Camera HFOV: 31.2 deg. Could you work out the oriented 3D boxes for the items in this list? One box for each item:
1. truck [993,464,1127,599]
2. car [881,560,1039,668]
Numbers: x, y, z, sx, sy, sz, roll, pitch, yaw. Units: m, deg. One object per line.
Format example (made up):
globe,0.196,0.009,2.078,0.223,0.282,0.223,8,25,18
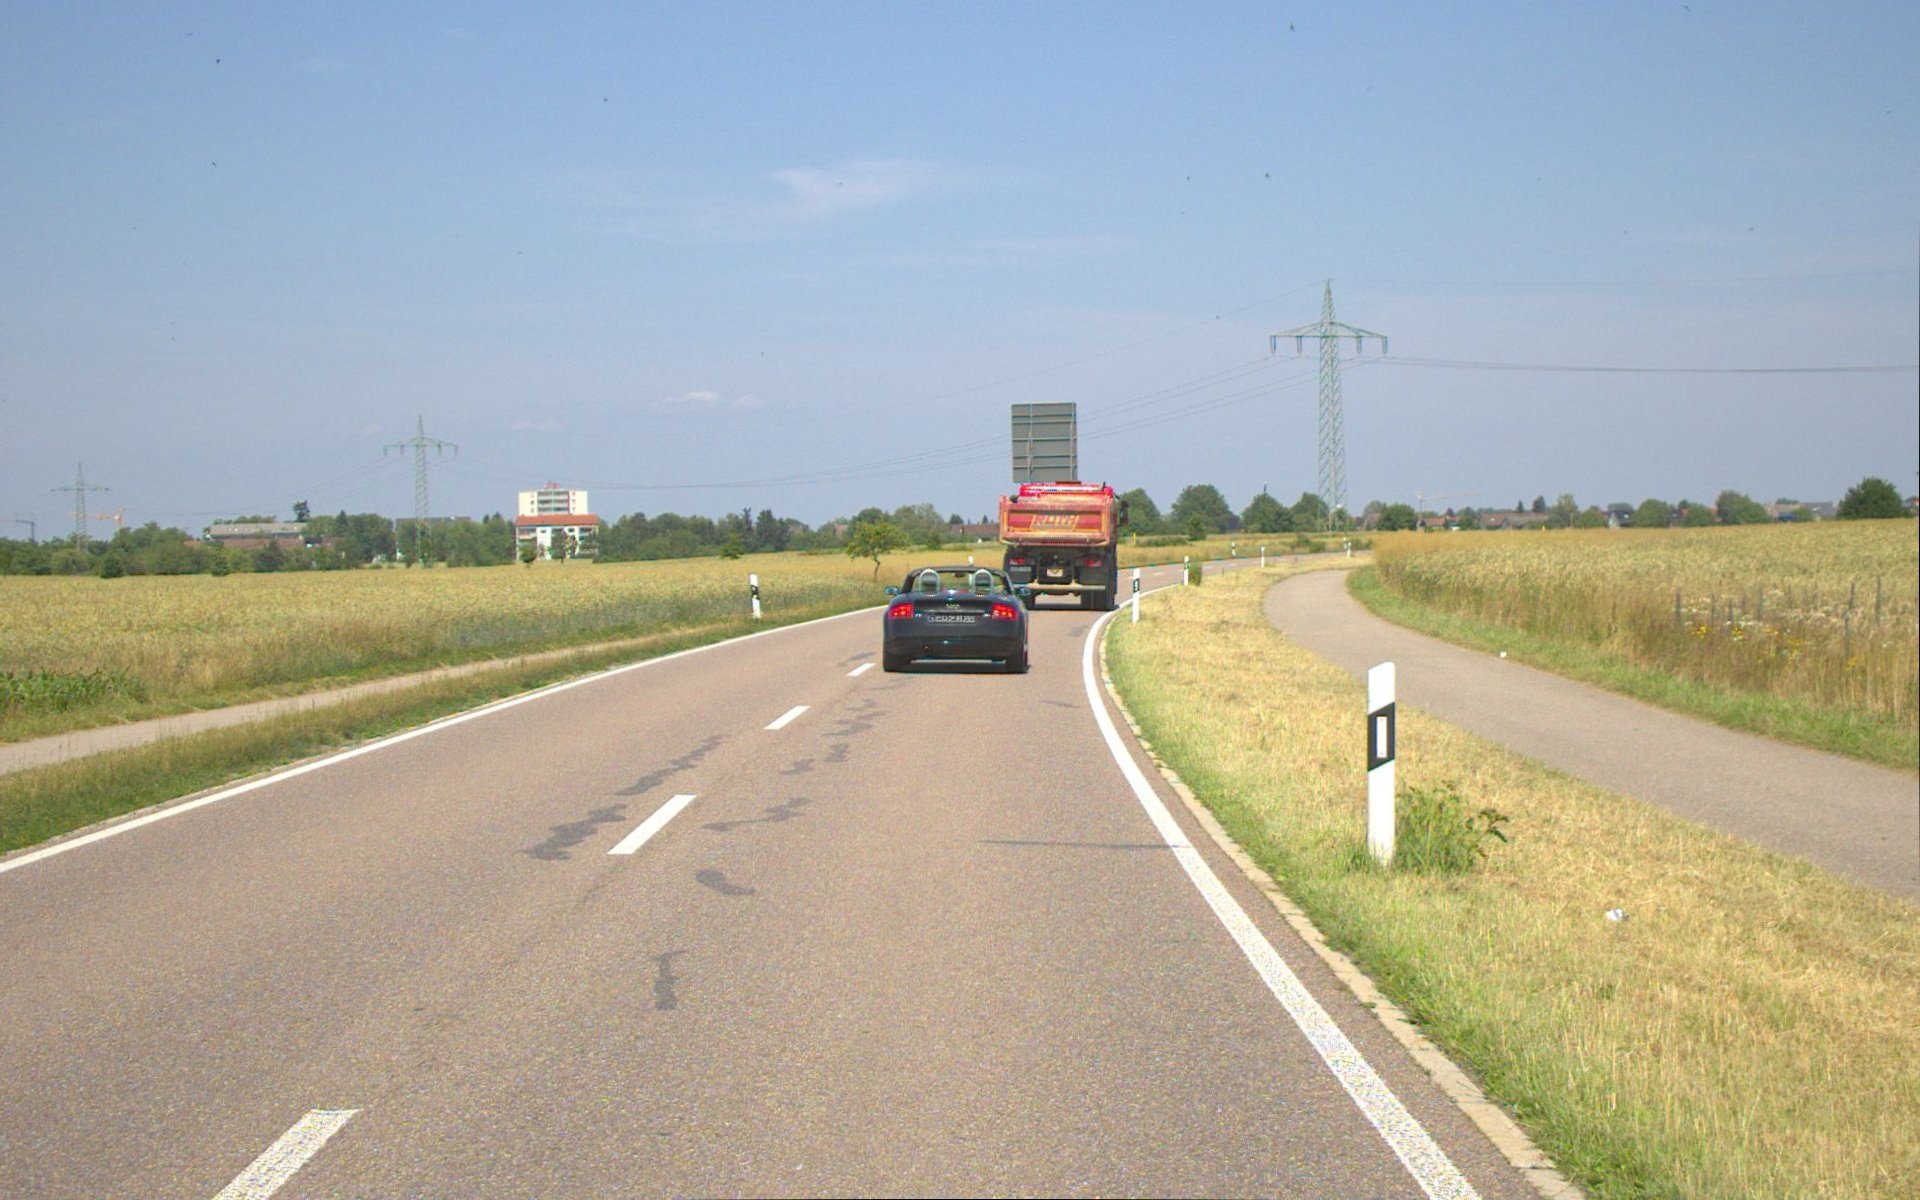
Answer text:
truck,2.471,-1.579,82.298,2.938,3.078,7.195,0,0,4
car,0.043,0.158,43.288,1.744,1.275,4.000,0,0,3
